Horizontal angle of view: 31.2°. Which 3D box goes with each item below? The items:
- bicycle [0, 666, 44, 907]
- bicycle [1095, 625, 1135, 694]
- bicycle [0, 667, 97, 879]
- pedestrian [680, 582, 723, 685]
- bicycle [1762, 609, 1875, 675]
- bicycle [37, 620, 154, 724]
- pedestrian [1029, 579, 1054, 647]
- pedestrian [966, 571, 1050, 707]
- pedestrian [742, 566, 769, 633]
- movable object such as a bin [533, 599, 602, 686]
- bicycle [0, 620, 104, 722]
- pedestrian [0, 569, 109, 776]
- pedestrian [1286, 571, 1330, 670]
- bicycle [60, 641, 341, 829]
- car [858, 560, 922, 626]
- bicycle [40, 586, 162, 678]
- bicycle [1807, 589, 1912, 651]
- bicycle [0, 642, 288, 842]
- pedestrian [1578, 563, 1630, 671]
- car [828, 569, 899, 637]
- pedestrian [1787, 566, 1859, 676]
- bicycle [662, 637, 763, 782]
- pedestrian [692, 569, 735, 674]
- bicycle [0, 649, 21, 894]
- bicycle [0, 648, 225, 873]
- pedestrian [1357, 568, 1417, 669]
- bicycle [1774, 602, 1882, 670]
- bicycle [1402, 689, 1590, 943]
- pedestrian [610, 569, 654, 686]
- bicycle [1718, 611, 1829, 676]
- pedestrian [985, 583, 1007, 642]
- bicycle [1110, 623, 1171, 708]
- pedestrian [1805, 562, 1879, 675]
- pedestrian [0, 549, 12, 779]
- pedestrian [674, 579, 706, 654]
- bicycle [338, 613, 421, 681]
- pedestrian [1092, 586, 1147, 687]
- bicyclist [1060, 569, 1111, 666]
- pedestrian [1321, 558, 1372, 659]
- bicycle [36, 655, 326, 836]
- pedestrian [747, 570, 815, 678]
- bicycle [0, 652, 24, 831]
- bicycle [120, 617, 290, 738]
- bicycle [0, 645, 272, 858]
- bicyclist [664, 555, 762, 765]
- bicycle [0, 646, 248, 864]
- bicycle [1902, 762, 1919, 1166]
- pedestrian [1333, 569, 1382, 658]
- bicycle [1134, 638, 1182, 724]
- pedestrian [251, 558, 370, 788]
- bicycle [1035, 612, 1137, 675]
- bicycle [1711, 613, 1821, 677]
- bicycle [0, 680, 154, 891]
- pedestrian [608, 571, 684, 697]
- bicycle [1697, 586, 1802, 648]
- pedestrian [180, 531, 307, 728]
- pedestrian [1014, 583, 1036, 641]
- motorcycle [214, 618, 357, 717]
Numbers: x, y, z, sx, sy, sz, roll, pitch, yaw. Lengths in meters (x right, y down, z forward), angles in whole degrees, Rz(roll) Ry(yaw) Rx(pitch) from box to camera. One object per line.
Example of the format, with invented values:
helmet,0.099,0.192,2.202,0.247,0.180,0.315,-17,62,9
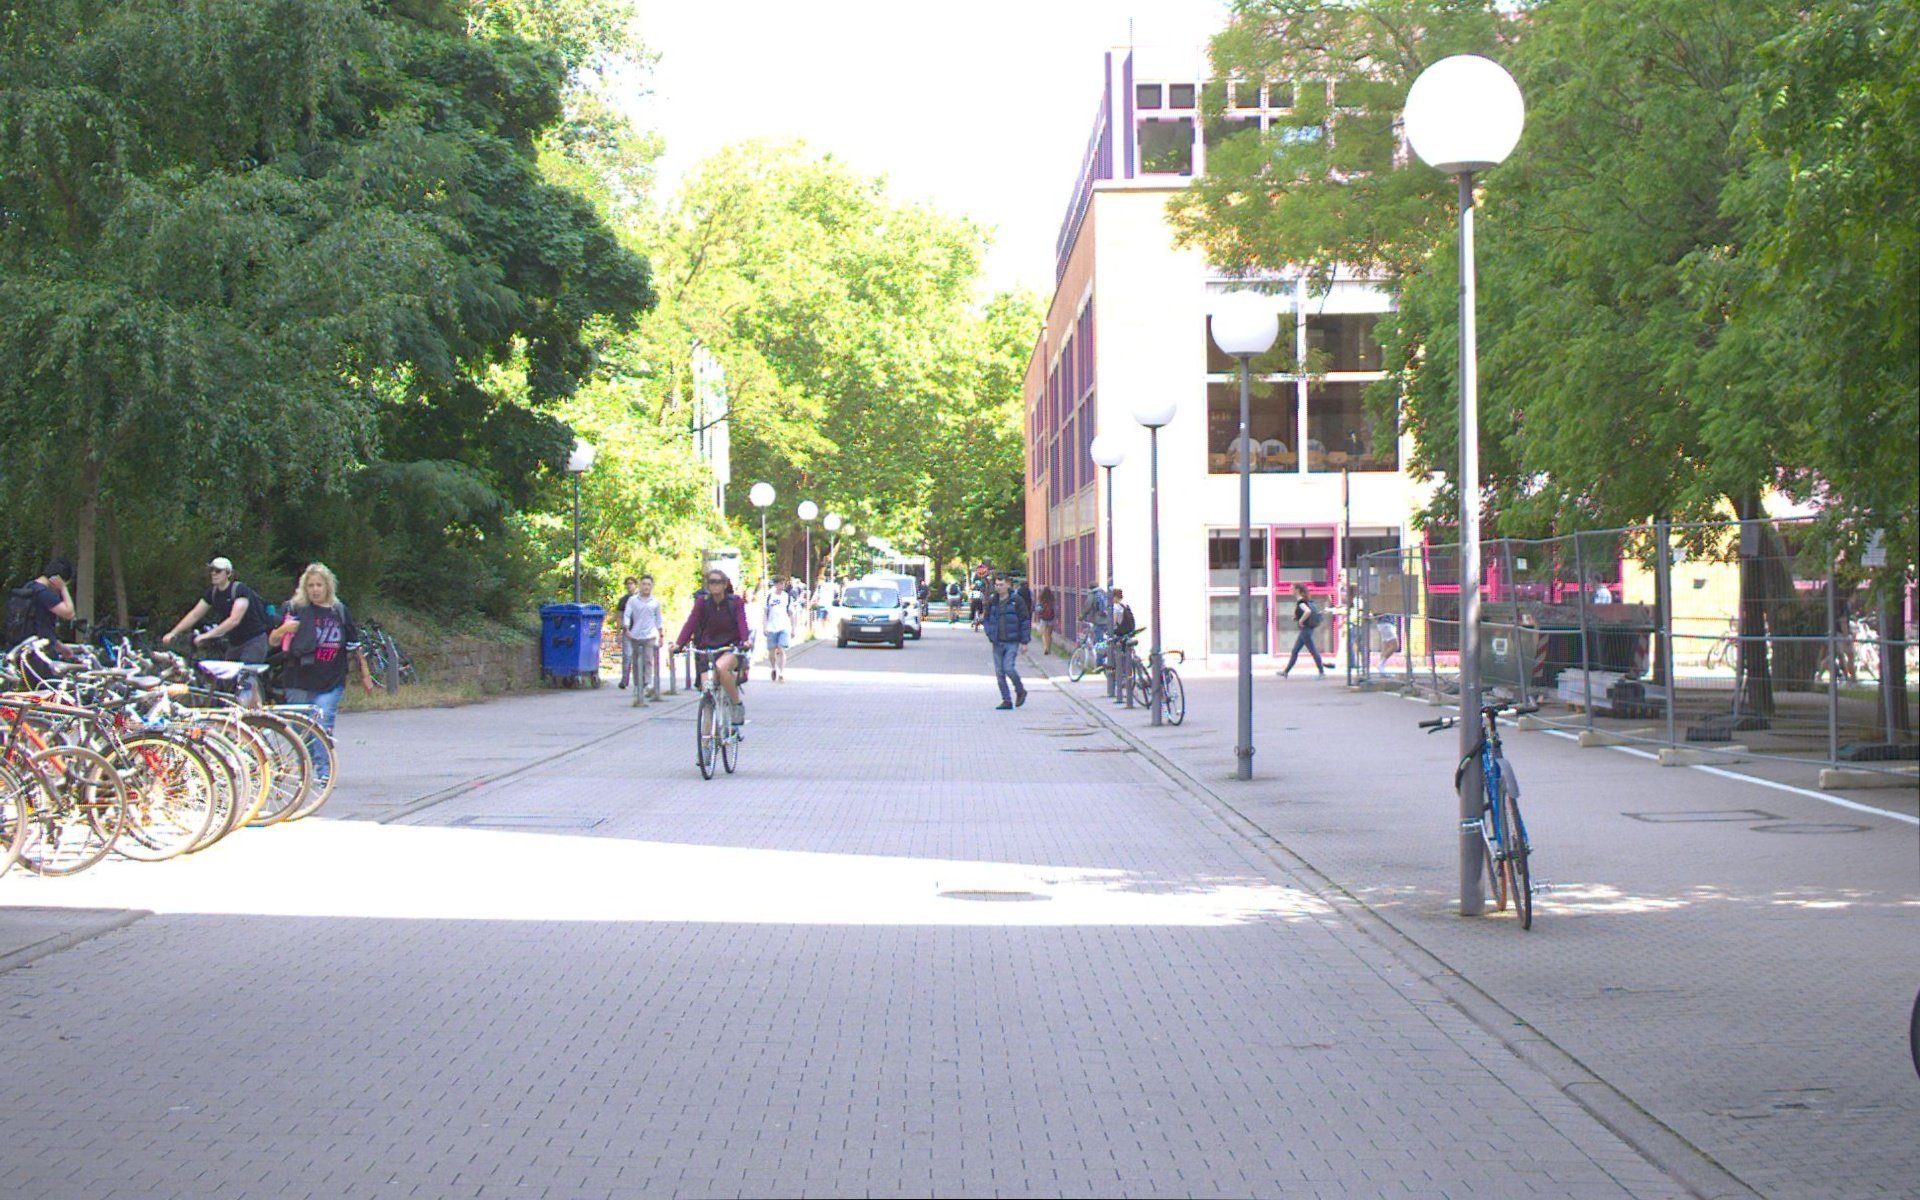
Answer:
bicycle,-5.121,0.864,15.791,1.694,1.104,0.474,0,0,-27
bicycle,2.319,0.883,51.500,0.450,0.958,1.740,-3,0,-1
bicycle,-5.274,0.883,17.408,1.694,1.058,0.474,0,0,-35
pedestrian,-4.062,0.521,53.991,0.569,1.605,0.918,1,0,-11
bicycle,14.753,0.719,59.108,1.809,1.106,0.523,1,0,4
bicycle,-9.384,0.774,37.283,0.473,1.043,1.699,2,0,-41
pedestrian,2.025,0.329,85.454,0.586,1.667,0.699,-1,-1,1
pedestrian,0.670,0.532,47.662,0.886,1.851,1.031,1,0,17
pedestrian,-5.611,-0.017,94.329,0.682,1.838,0.783,0,0,0
movable object such as a bin,-6.241,0.673,54.713,0.709,1.332,1.239,2,1,10
bicycle,-9.779,0.747,36.798,0.473,1.043,1.699,0,0,-41
pedestrian,-7.813,0.605,29.254,0.685,1.718,0.903,1,0,23
pedestrian,5.971,0.350,58.984,0.697,1.667,0.588,-1,-1,7
bicycle,-4.763,0.841,21.638,1.693,1.155,0.474,0,0,-9
car,-2.116,-0.246,105.796,1.883,1.967,5.215,0,1,0
bicycle,-10.129,0.381,40.584,0.473,1.043,1.698,2,0,21
bicycle,16.614,0.366,63.512,1.805,1.106,0.474,1,0,-6
bicycle,-4.871,0.838,20.407,1.694,1.164,0.474,0,0,-6
pedestrian,10.773,0.286,57.524,0.767,1.788,0.588,-1,-1,7
car,-2.556,0.051,92.095,1.790,1.756,4.481,-1,1,0
pedestrian,13.616,0.338,54.240,0.902,1.722,0.685,0,-2,-5
bicycle,-2.045,0.887,28.626,0.771,1.146,2.108,-1,-1,-3
pedestrian,-4.311,0.376,60.266,0.682,1.838,0.783,0,0,0
bicycle,-5.338,0.815,16.203,1.694,1.153,0.474,0,0,-27
bicycle,-4.802,0.845,18.302,1.693,1.164,0.474,0,0,-17
pedestrian,7.373,0.325,59.372,0.902,1.722,0.684,-1,-2,17
bicycle,14.631,0.611,57.985,1.694,1.106,0.474,1,0,4
bicycle,2.454,0.965,15.907,0.537,1.036,1.859,-1,0,-1
pedestrian,-5.288,0.445,55.496,0.682,1.866,1.121,0,0,-5
bicycle,14.340,0.759,60.627,1.809,1.106,0.523,1,0,4
pedestrian,1.040,0.354,98.776,0.586,1.667,0.817,-1,-1,1
bicycle,2.416,0.871,46.163,0.708,1.089,1.749,0,0,-1
pedestrian,13.733,0.293,53.546,0.902,1.722,0.685,0,-2,-5
pedestrian,-7.512,0.475,25.624,0.684,1.718,0.731,1,0,-2
pedestrian,-5.808,0.356,73.910,0.682,1.615,0.979,0,0,-5
bicycle,-7.929,0.644,46.995,0.421,0.907,1.739,0,-1,15
pedestrian,2.624,0.596,56.474,0.852,1.646,0.588,0,0,7
bicyclist,2.222,0.305,60.862,0.665,1.710,0.587,0,0,45
pedestrian,7.105,0.158,63.150,0.825,1.838,0.685,0,0,-2
bicycle,-4.783,0.888,21.169,1.694,1.087,0.474,0,0,-6
pedestrian,-3.155,0.423,60.534,0.725,1.875,1.081,0,-1,29
bicycle,-6.105,0.864,20.490,0.507,1.080,1.699,0,0,3
bicycle,-7.191,0.723,32.824,0.473,1.106,1.842,0,0,29
bicycle,-4.840,0.848,19.555,1.776,1.164,0.474,0,0,13
bicyclist,-2.054,0.497,28.653,0.771,1.710,0.911,-1,-1,-3
bicycle,-4.778,0.840,18.845,1.693,1.164,0.474,0,0,-13
bicycle,3.347,0.931,8.816,1.738,1.036,0.449,-1,2,-5
pedestrian,7.219,0.247,62.454,0.780,1.615,0.685,0,0,-2
bicycle,2.310,0.934,40.186,0.395,0.933,1.732,-2,0,-1
pedestrian,-4.895,0.531,25.869,0.767,1.674,0.907,-1,1,-17
bicycle,2.226,0.756,60.848,0.587,1.080,1.906,0,1,-45
bicycle,14.398,0.799,61.422,1.809,1.106,0.524,1,0,-3
bicycle,-4.898,0.920,17.056,1.694,1.015,0.474,0,0,-35
pedestrian,-4.650,0.492,50.872,0.783,1.839,1.118,1,0,-24
bicycle,14.569,0.306,63.459,1.809,1.106,0.524,1,0,-1
pedestrian,-6.780,0.271,32.535,0.613,1.829,1.048,0,0,34
pedestrian,1.904,0.361,100.228,0.586,1.667,0.817,-1,-1,1
motorcycle,-7.733,0.763,39.368,2.024,1.043,0.473,2,1,42
